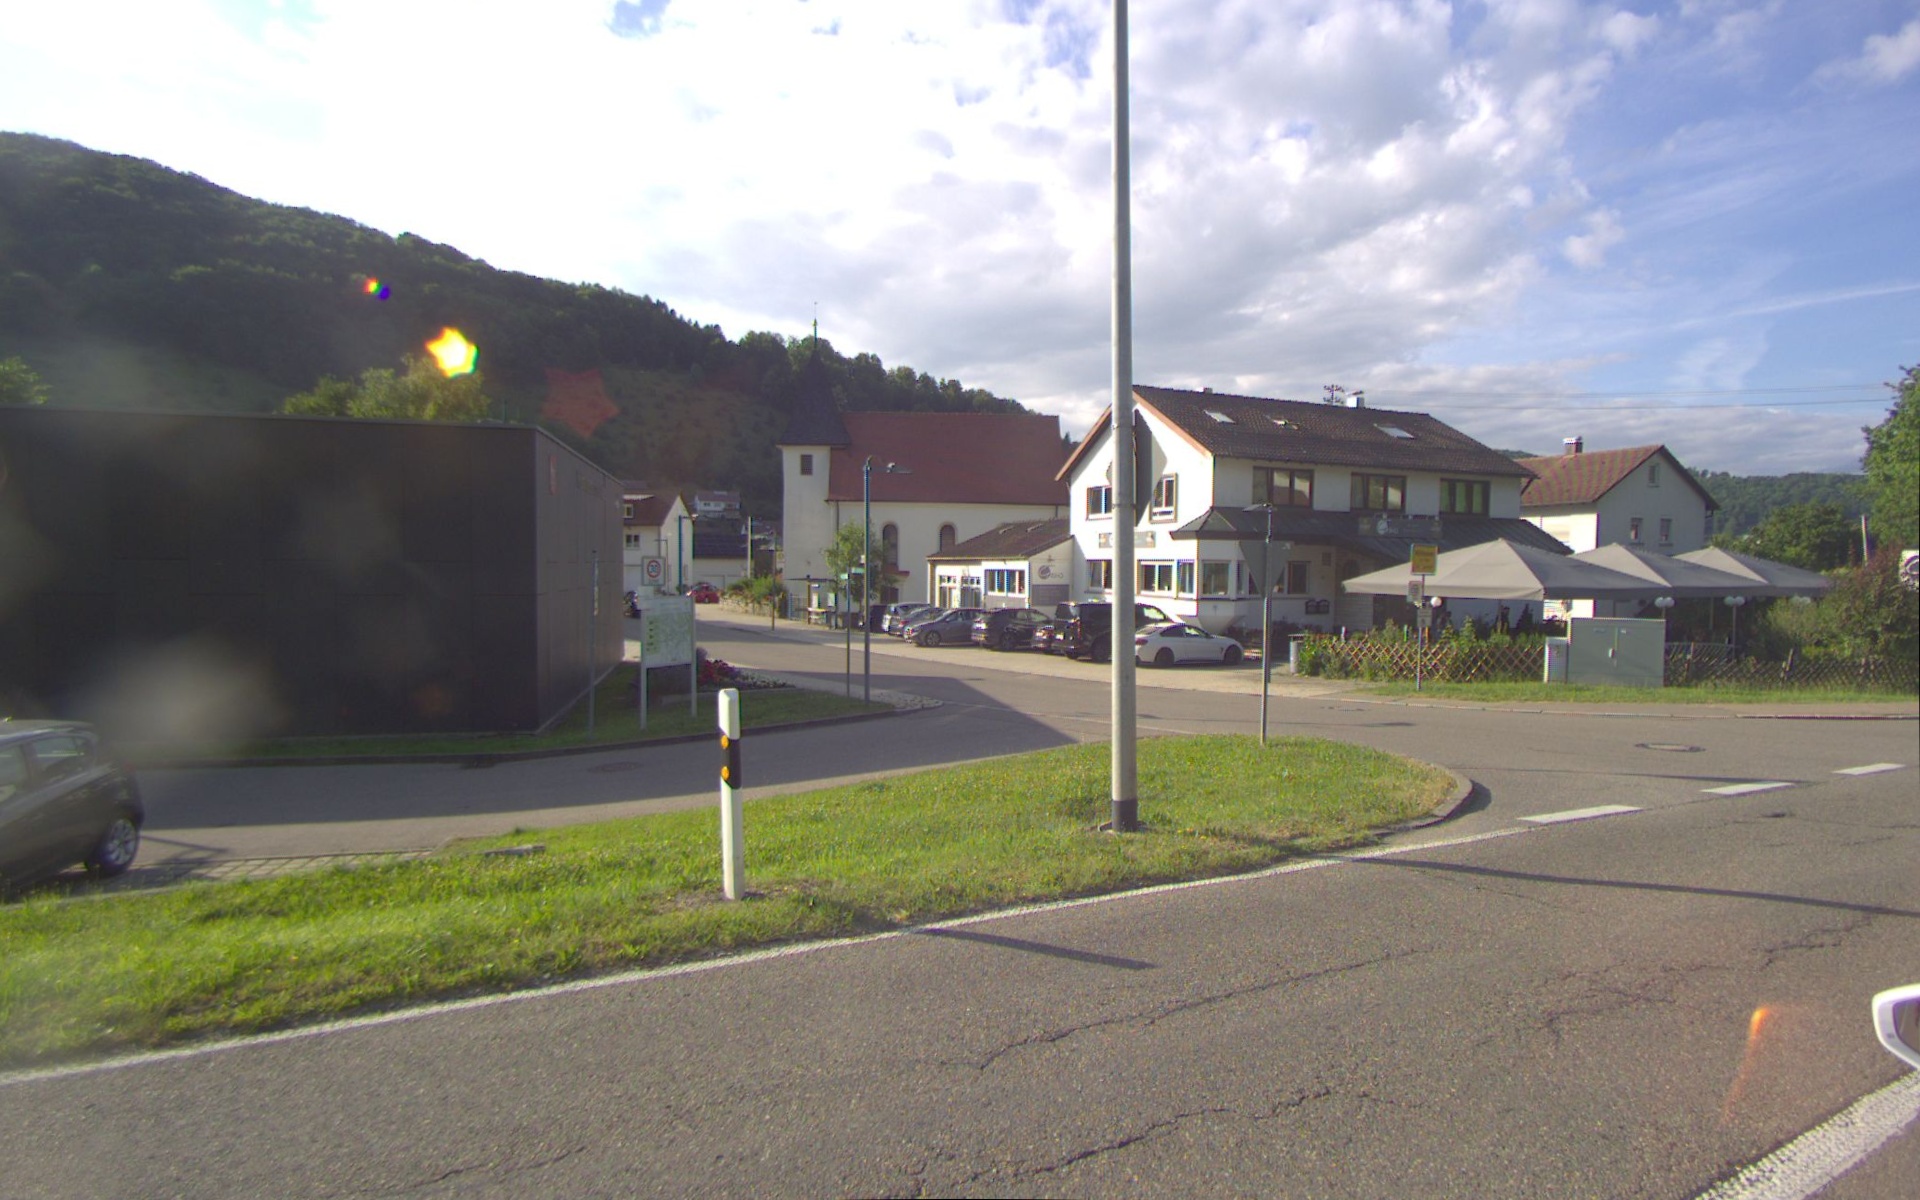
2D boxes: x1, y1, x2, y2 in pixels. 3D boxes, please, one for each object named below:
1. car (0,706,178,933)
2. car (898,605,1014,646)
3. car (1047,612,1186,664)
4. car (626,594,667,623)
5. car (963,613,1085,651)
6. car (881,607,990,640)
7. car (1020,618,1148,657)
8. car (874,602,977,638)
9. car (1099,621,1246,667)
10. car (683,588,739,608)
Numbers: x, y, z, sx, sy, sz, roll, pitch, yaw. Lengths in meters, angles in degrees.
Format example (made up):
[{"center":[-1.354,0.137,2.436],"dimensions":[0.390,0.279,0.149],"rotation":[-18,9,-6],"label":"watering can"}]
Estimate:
[{"center":[-8.414,1.806,8.023],"dimensions":[1.801,1.555,3.992],"rotation":[1,-1,-12],"label":"car"},{"center":[-0.162,1.075,42.314],"dimensions":[4.518,1.618,1.986],"rotation":[1,-1,-27],"label":"car"},{"center":[5.476,1.294,35.123],"dimensions":[4.518,1.707,1.986],"rotation":[1,-1,-27],"label":"car"},{"center":[-19.289,0.515,61.647],"dimensions":[1.867,1.706,3.974],"rotation":[0,0,-26],"label":"car"},{"center":[2.554,1.254,40.170],"dimensions":[4.518,1.431,1.986],"rotation":[1,-1,-27],"label":"car"},{"center":[-1.100,1.070,45.478],"dimensions":[4.518,1.431,1.986],"rotation":[1,-1,-27],"label":"car"},{"center":[4.732,1.388,38.272],"dimensions":[4.518,1.408,1.986],"rotation":[1,-1,-27],"label":"car"},{"center":[-1.643,0.954,48.076],"dimensions":[4.518,1.665,1.986],"rotation":[1,-1,-27],"label":"car"},{"center":[6.975,1.415,32.896],"dimensions":[4.518,1.408,1.986],"rotation":[1,-1,-27],"label":"car"},{"center":[-20.028,-0.145,80.828],"dimensions":[1.972,1.528,3.977],"rotation":[1,0,43],"label":"car"}]
